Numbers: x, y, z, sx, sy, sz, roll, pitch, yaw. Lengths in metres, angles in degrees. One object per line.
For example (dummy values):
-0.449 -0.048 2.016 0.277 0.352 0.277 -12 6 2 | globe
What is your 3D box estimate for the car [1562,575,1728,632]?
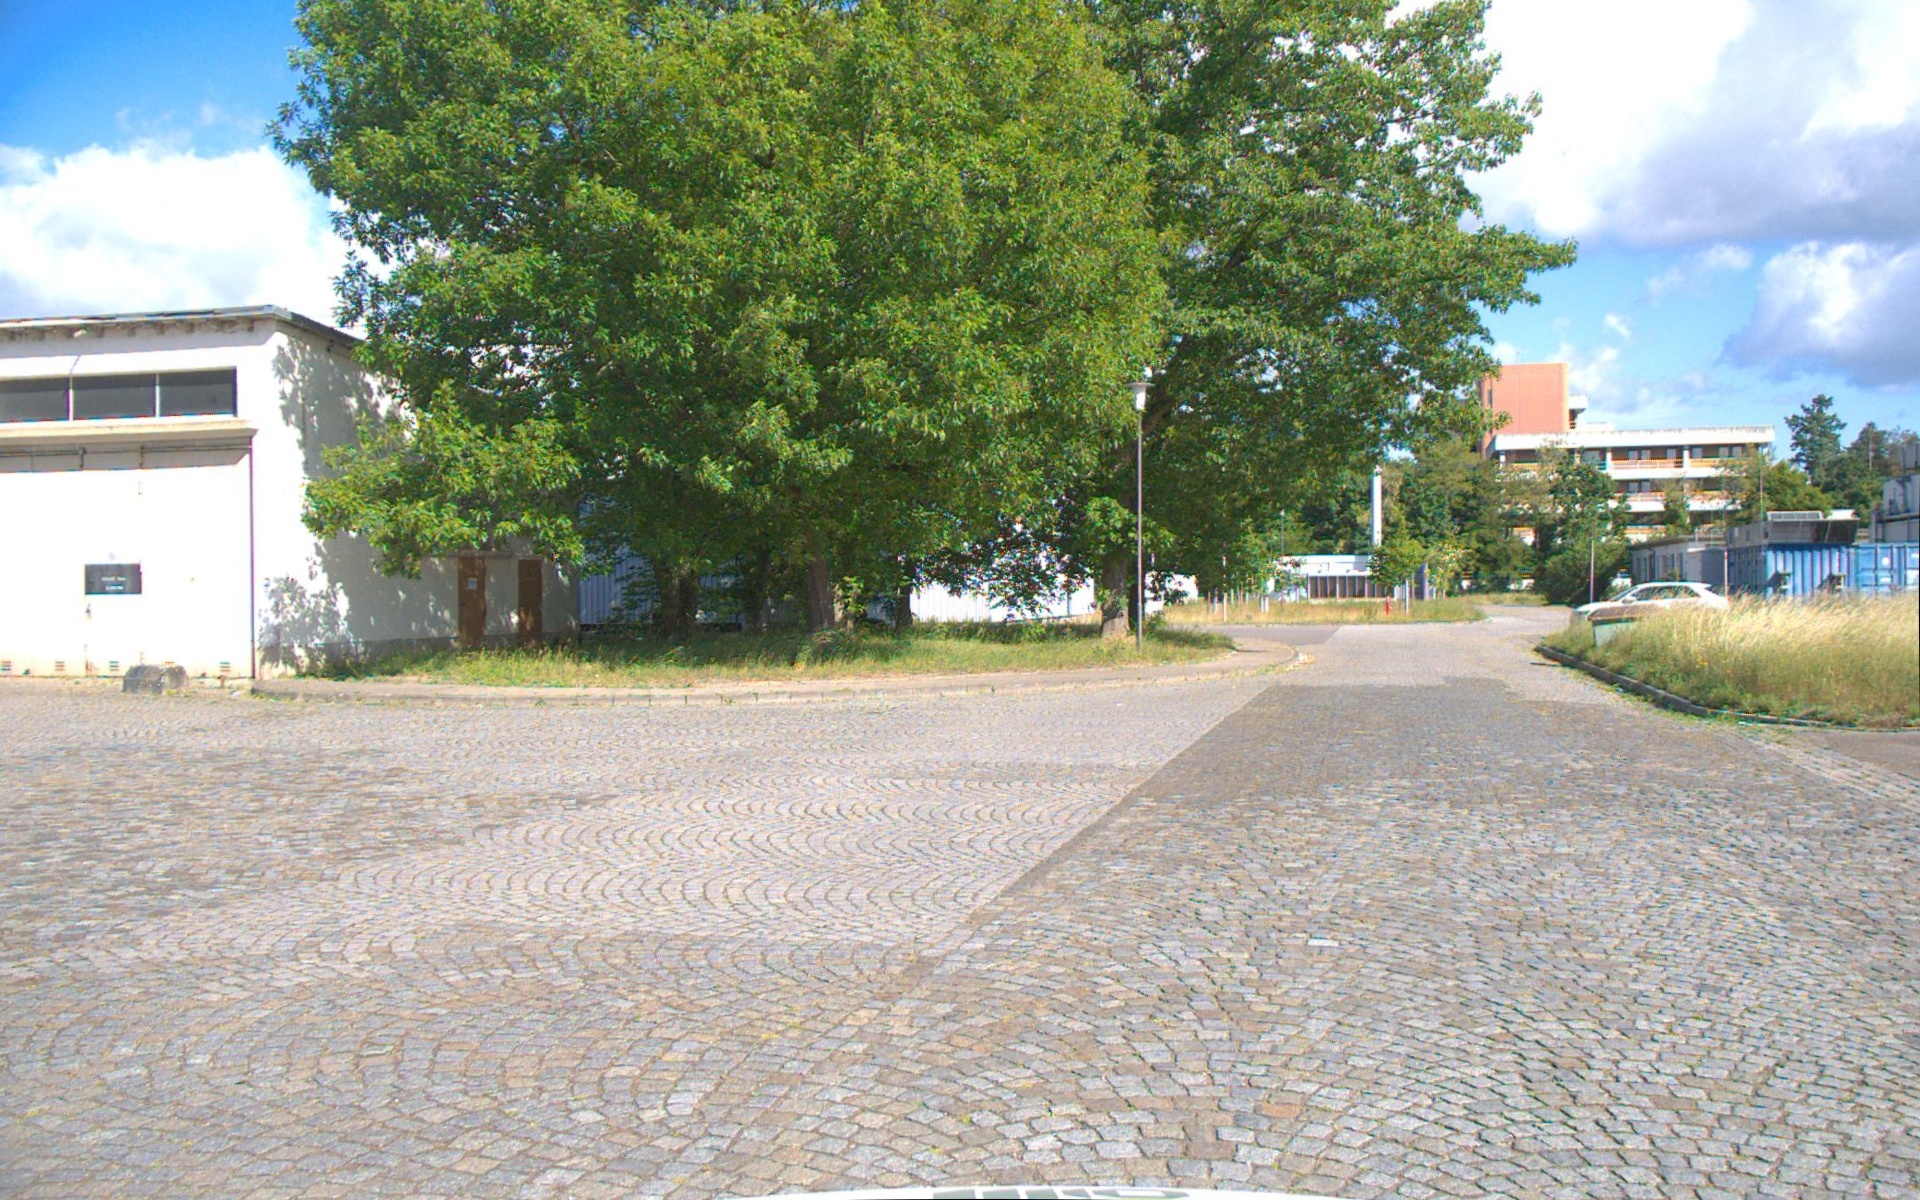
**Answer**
20.866 0.100 50.588 4.408 1.676 2.002 -1 0 13 | car
